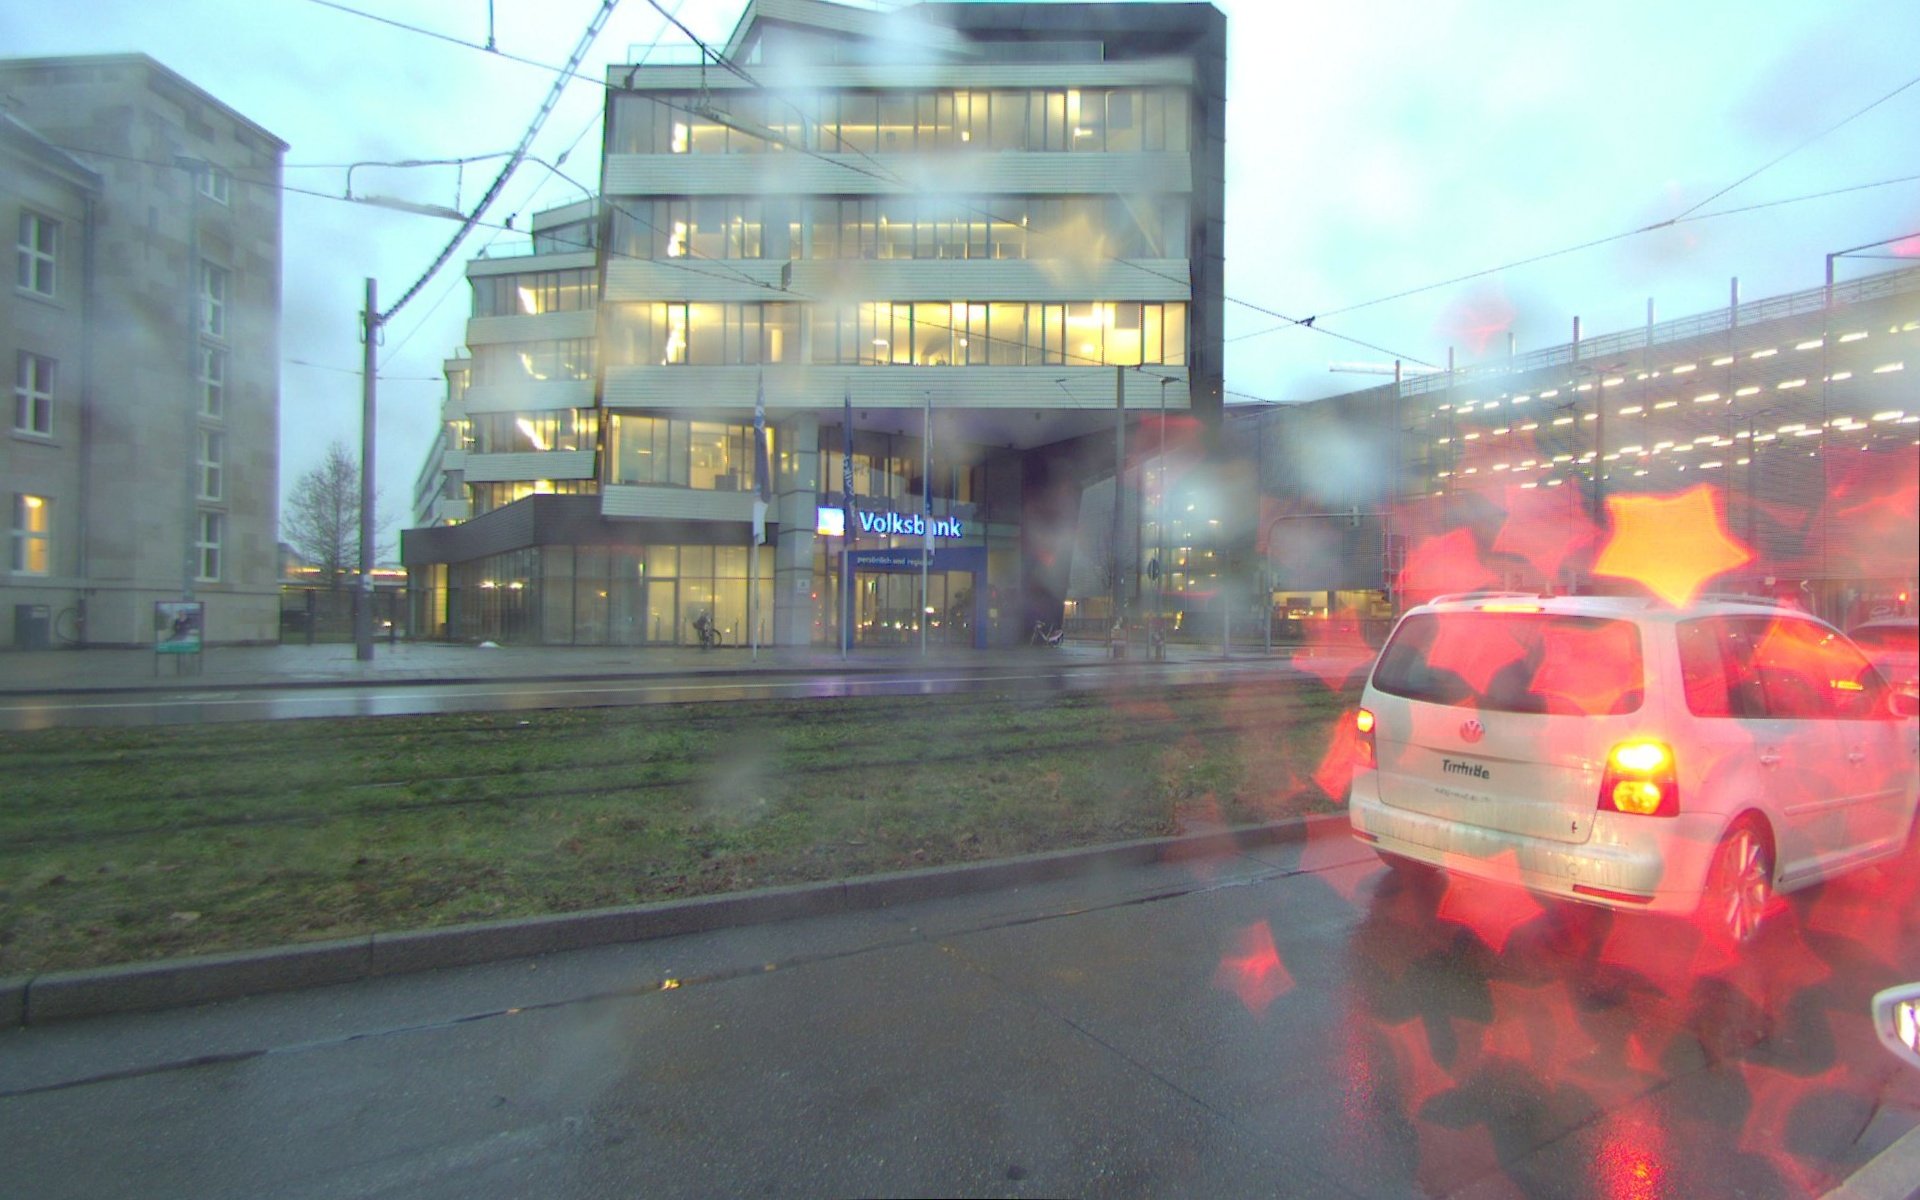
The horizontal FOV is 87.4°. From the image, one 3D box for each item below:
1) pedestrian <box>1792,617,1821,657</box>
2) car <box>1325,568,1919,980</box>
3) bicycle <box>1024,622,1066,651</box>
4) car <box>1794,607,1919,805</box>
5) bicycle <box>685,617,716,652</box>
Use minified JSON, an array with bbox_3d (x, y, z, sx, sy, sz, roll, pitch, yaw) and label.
[{"bbox_3d":[54.262,2.371,64.401,0.955,2.471,1.105,2,0,-30],"label":"pedestrian"},{"bbox_3d":[4.141,0.733,5.816,4.177,1.620,1.662,1,-1,-33],"label":"car"},{"bbox_3d":[3.392,1.445,40.056,1.582,1.084,0.637,0,-1,-31],"label":"bicycle"},{"bbox_3d":[9.525,0.892,9.299,4.320,1.591,1.808,1,-1,-36],"label":"car"},{"bbox_3d":[-8.781,1.159,34.059,0.518,1.142,1.498,0,-1,6],"label":"bicycle"}]
